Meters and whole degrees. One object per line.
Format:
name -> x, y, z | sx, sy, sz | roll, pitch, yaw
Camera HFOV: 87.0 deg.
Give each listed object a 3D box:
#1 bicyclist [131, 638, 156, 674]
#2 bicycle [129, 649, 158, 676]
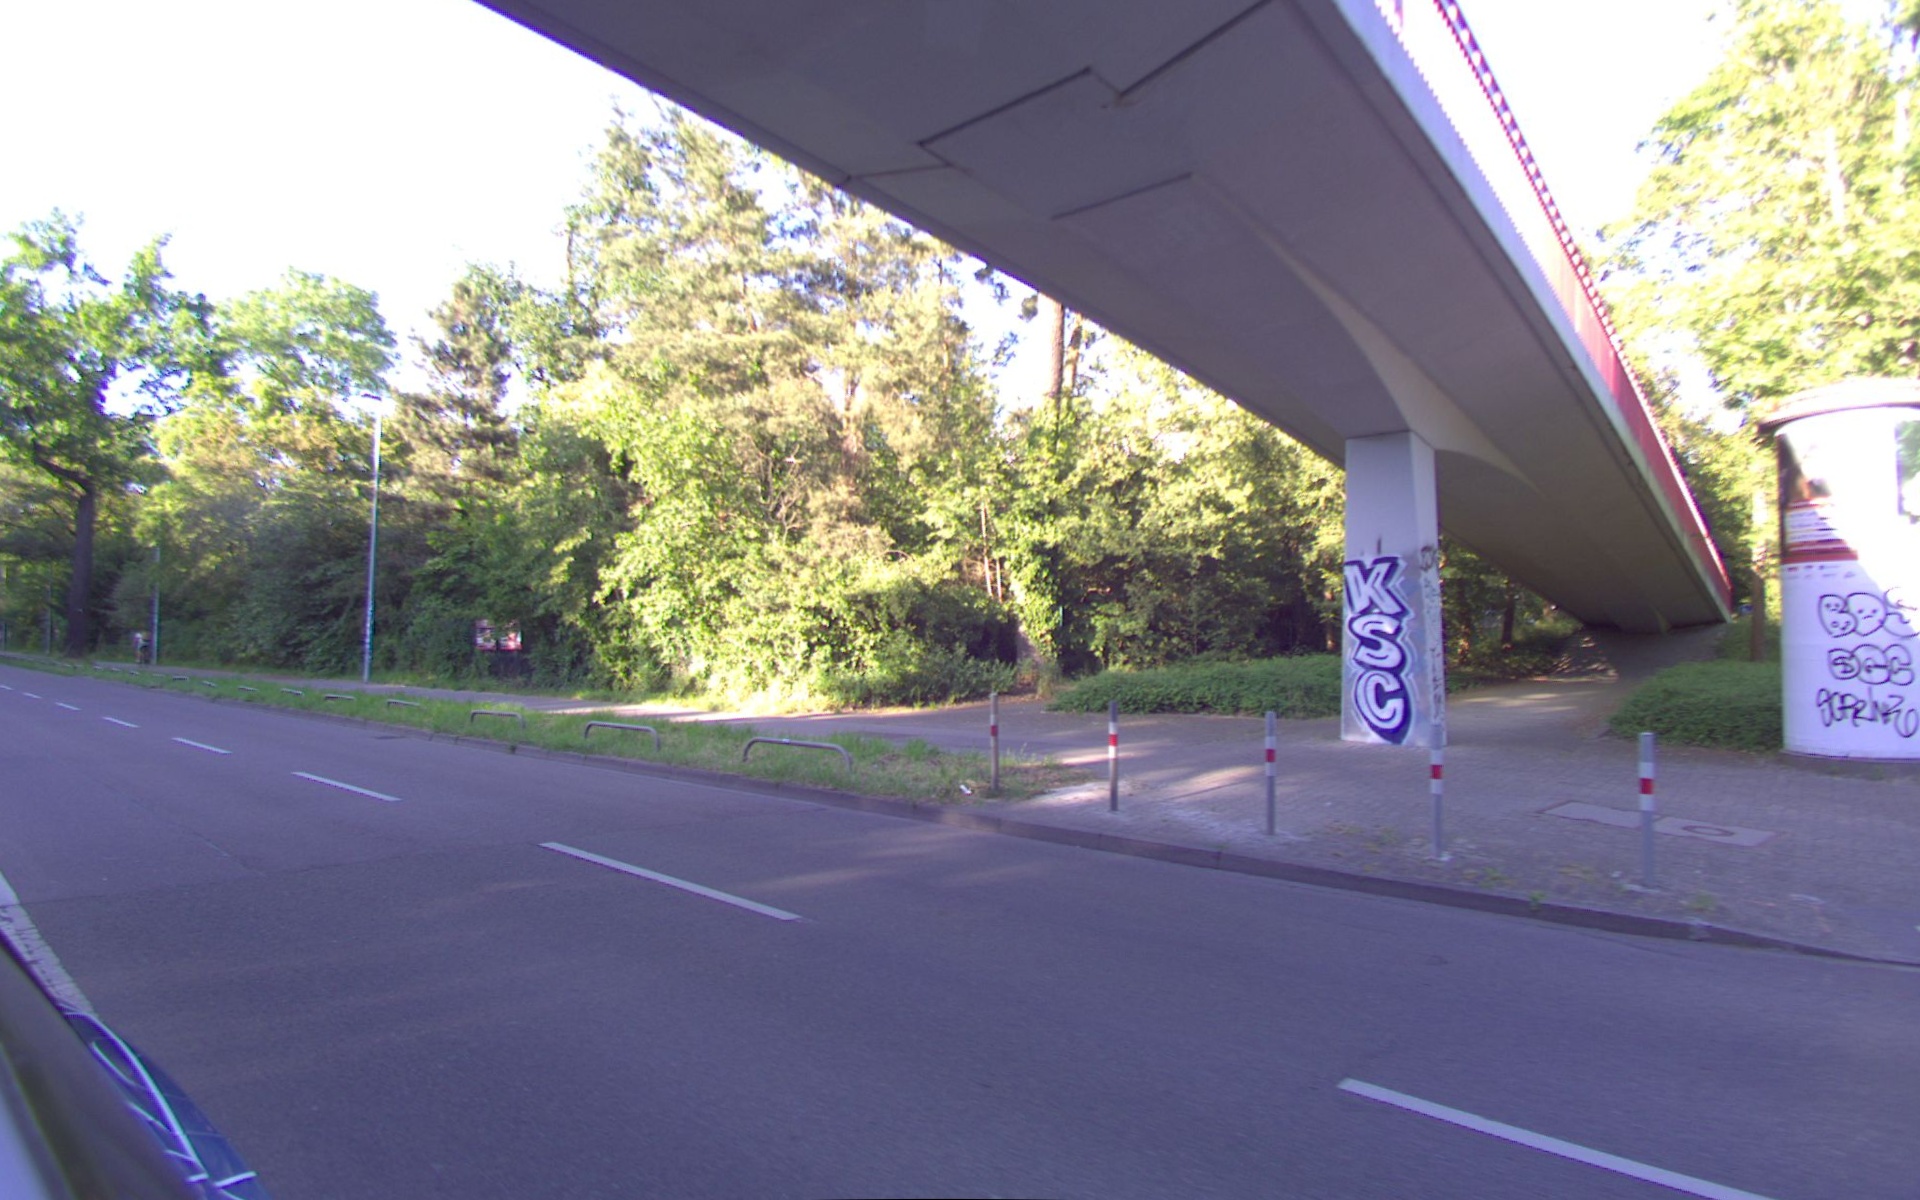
bicyclist -> -37.385, 2.562, 46.314 | 1.142, 1.570, 0.705 | -1, -1, 41
bicycle -> -37.382, 2.832, 46.307 | 1.992, 1.156, 0.705 | -1, -1, 41
